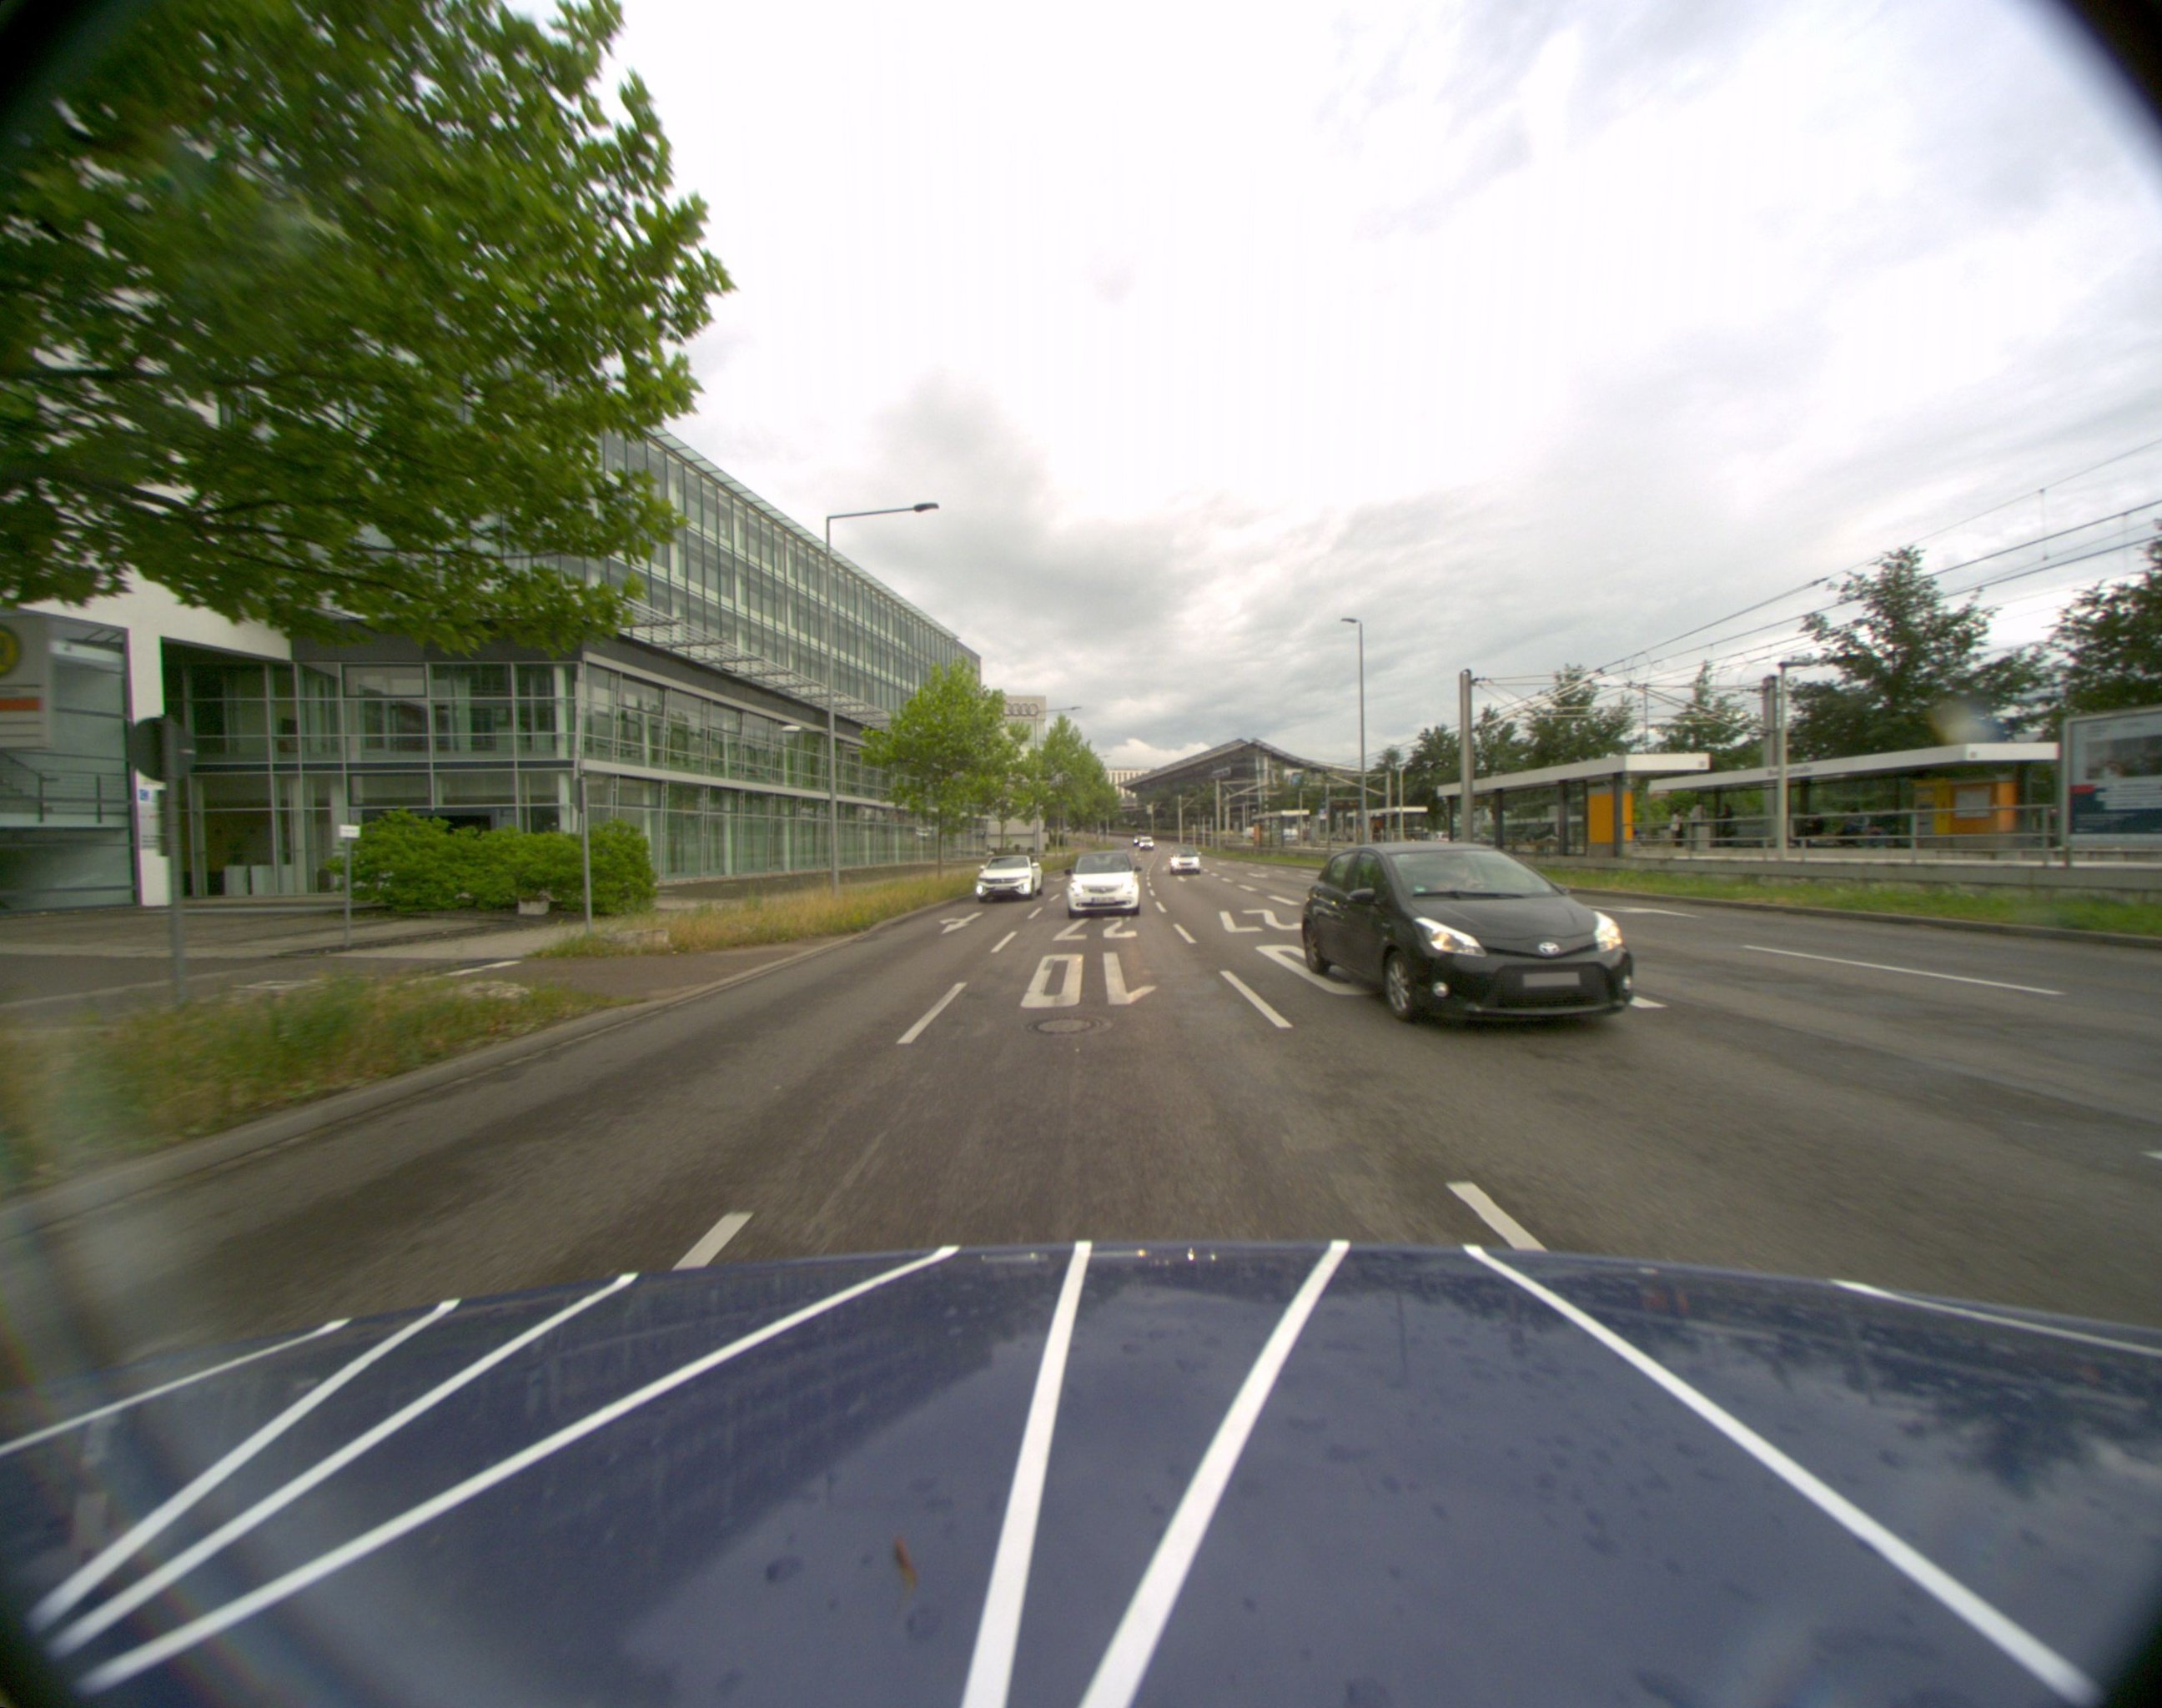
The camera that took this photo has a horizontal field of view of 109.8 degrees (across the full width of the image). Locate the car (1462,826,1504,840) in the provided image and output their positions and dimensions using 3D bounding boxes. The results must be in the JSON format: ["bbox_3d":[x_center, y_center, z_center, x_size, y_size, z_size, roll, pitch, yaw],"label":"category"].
[{"bbox_3d":[35.728,-1.912,67.570,1.530,1.125,3.933,-4,2,-1],"label":"car"}]

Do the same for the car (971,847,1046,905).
[{"bbox_3d":[-2.354,0.679,25.734,1.998,1.669,3.821,-3,1,2],"label":"car"}]

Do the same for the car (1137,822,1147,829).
[{"bbox_3d":[15.478,-7.225,192.336,1.999,1.837,3.998,-4,2,-2],"label":"car"}]

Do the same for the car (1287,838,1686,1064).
[{"bbox_3d":[3.395,0.678,7.319,1.697,1.514,3.904,-3,0,0],"label":"car"}]

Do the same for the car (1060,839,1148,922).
[{"bbox_3d":[0.551,0.591,18.300,1.805,1.712,4.001,-2,-1,2],"label":"car"}]

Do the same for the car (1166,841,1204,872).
[{"bbox_3d":[5.542,0.088,40.827,1.739,1.470,4.000,-3,1,5],"label":"car"}]

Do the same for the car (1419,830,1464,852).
[{"bbox_3d":[29.259,-1.086,61.790,1.532,1.657,4.267,-4,2,0],"label":"car"}]

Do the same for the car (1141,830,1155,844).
[{"bbox_3d":[8.943,-2.352,101.456,1.828,1.701,4.153,-3,2,5],"label":"car"}]

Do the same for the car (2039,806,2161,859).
[{"bbox_3d":[35.020,-0.735,25.082,1.576,1.618,4.080,-4,2,-1],"label":"car"}]

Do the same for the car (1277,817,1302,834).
[{"bbox_3d":[28.478,-3.879,103.781,1.998,2.202,5.142,-4,2,1],"label":"car"}]

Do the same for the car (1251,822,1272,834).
[{"bbox_3d":[28.149,-4.013,118.710,1.999,1.721,5.028,-4,2,0],"label":"car"}]

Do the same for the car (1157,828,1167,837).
[{"bbox_3d":[14.257,-3.845,133.629,1.701,1.514,3.825,-2,2,7],"label":"car"}]
